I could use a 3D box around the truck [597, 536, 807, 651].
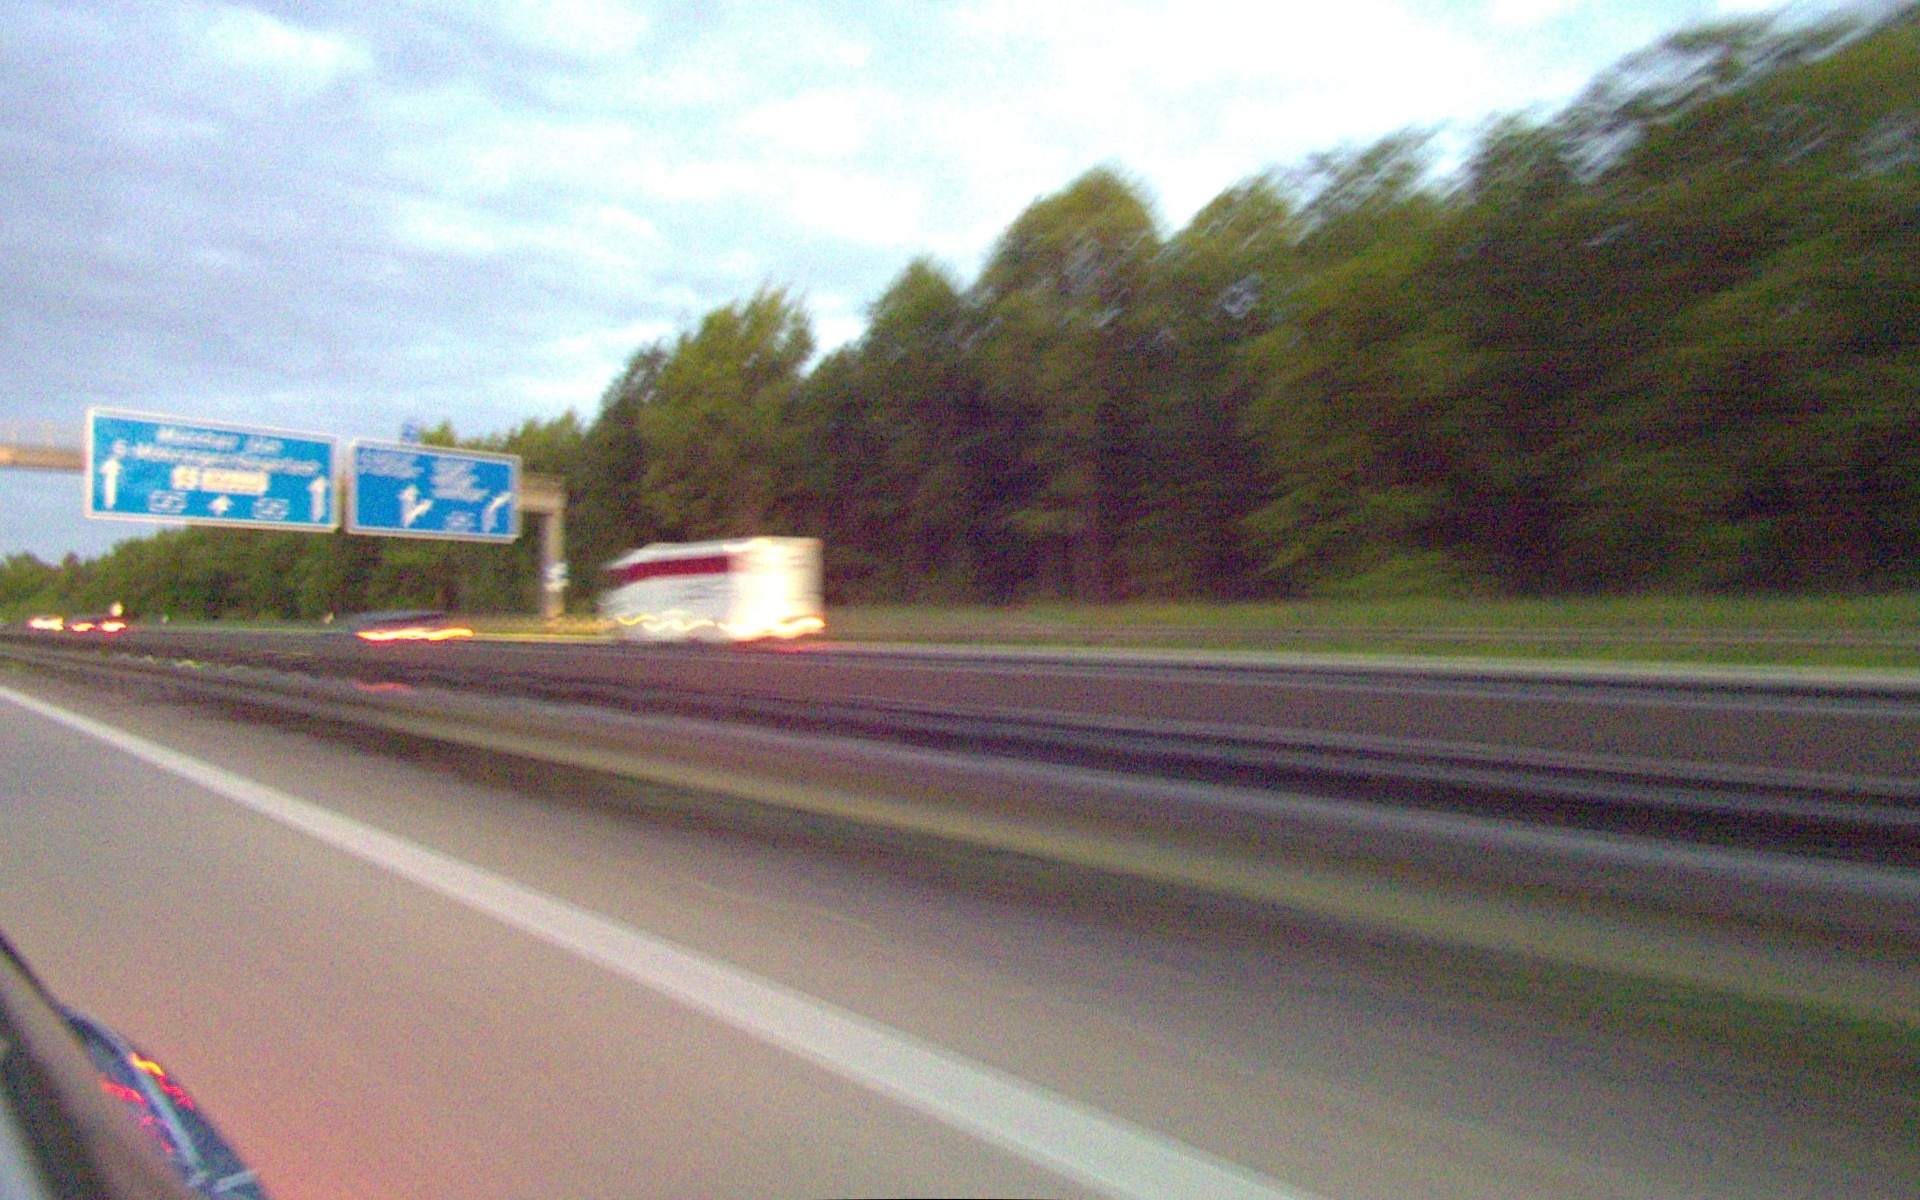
[{"bbox_3d":[-10.497,-0.154,40.100,10.540,4.041,2.617,-1,-1,42],"label":"truck"}]

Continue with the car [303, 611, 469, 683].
[{"bbox_3d":[-14.470,1.128,25.410,4.816,1.612,1.974,-1,-1,39],"label":"car"}]

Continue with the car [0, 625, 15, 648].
[{"bbox_3d":[-62.388,2.333,64.924,4.367,1.447,1.974,-1,-1,39],"label":"car"}]

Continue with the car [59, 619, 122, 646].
[{"bbox_3d":[-47.115,1.754,54.812,4.800,1.421,1.721,-1,-1,39],"label":"car"}]

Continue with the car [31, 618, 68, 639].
[{"bbox_3d":[-84.538,2.638,93.959,4.203,1.811,1.973,-2,-1,40],"label":"car"}]
